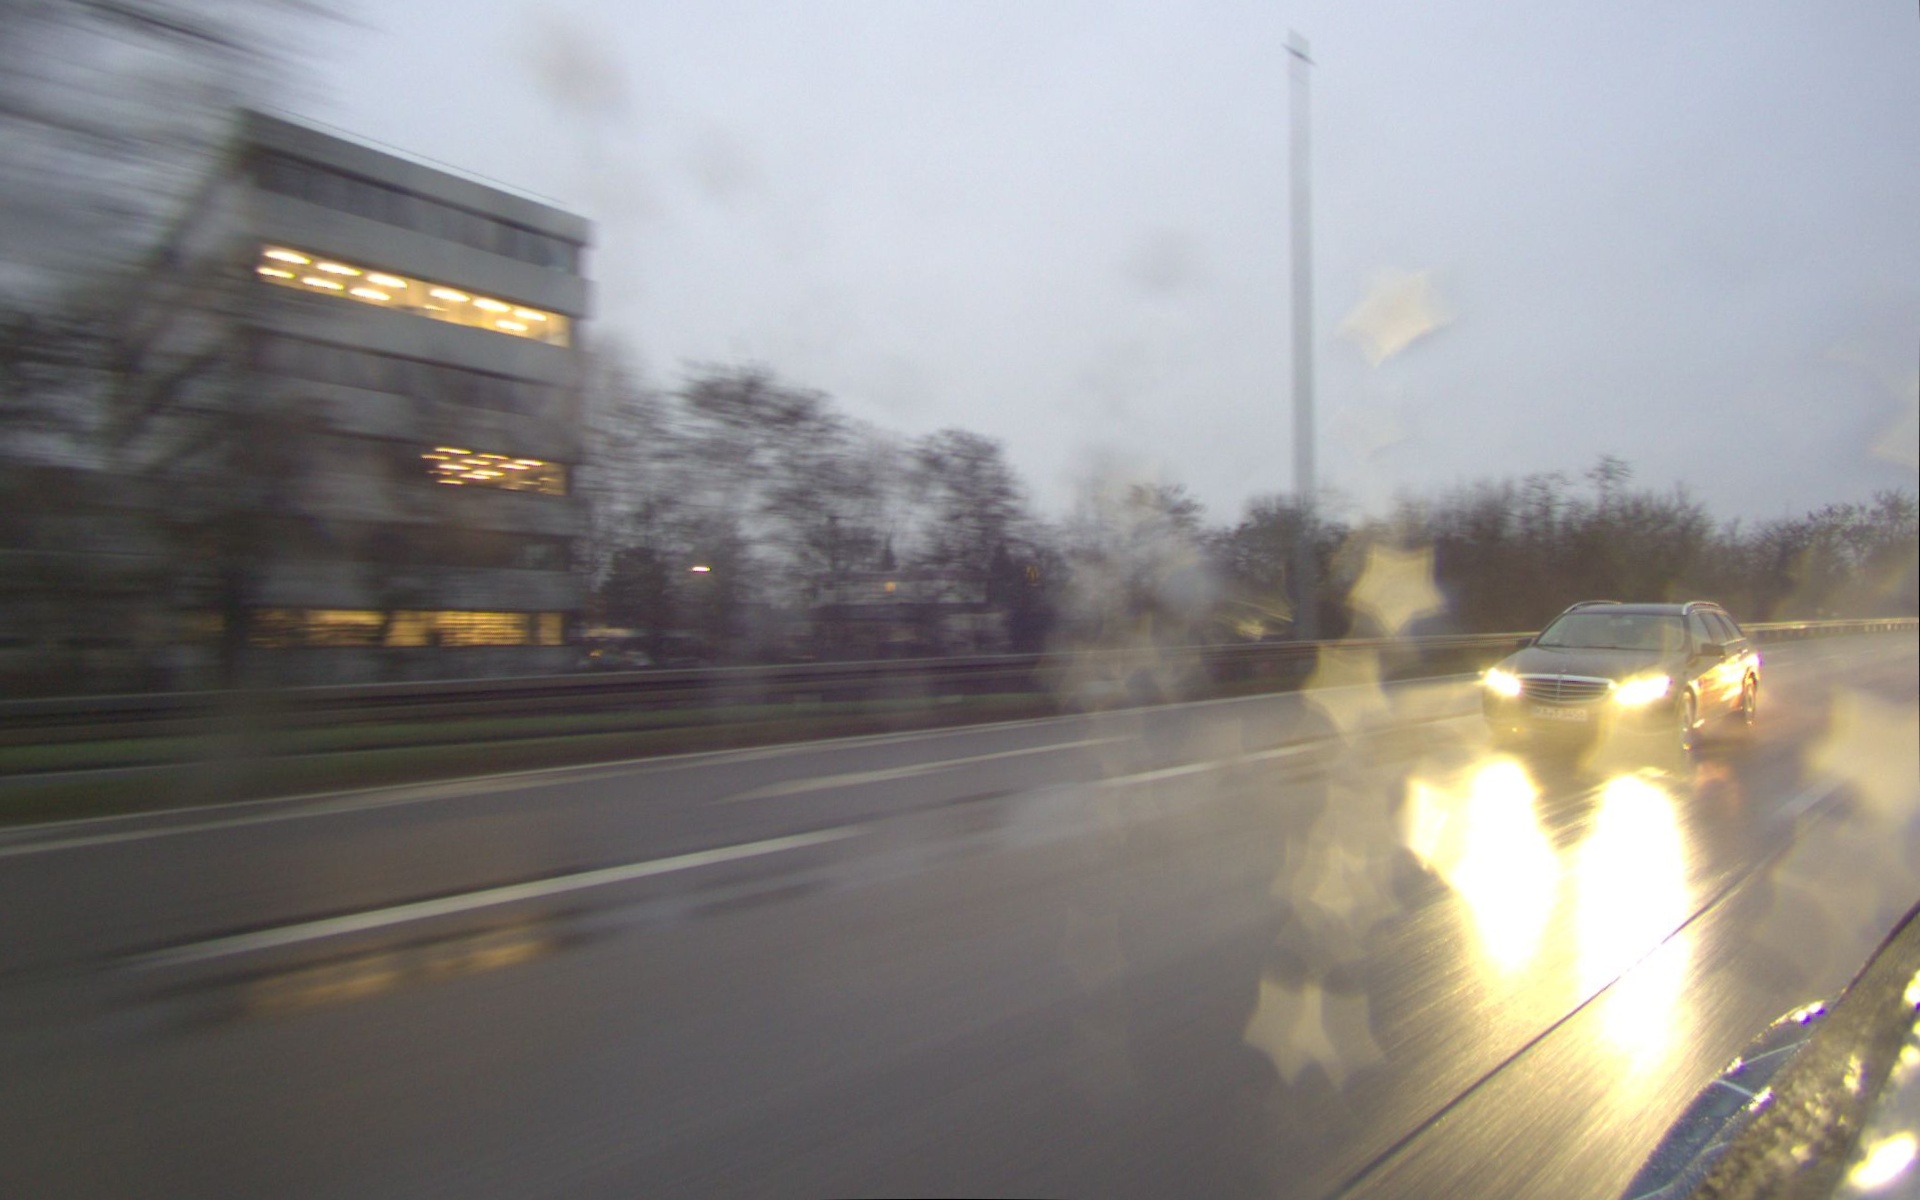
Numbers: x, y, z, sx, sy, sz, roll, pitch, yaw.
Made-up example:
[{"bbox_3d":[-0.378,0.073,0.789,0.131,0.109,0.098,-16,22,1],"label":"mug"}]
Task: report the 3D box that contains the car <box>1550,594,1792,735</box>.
[{"bbox_3d":[8.890,0.687,12.527,4.104,1.472,1.593,1,-1,-42],"label":"car"}]
